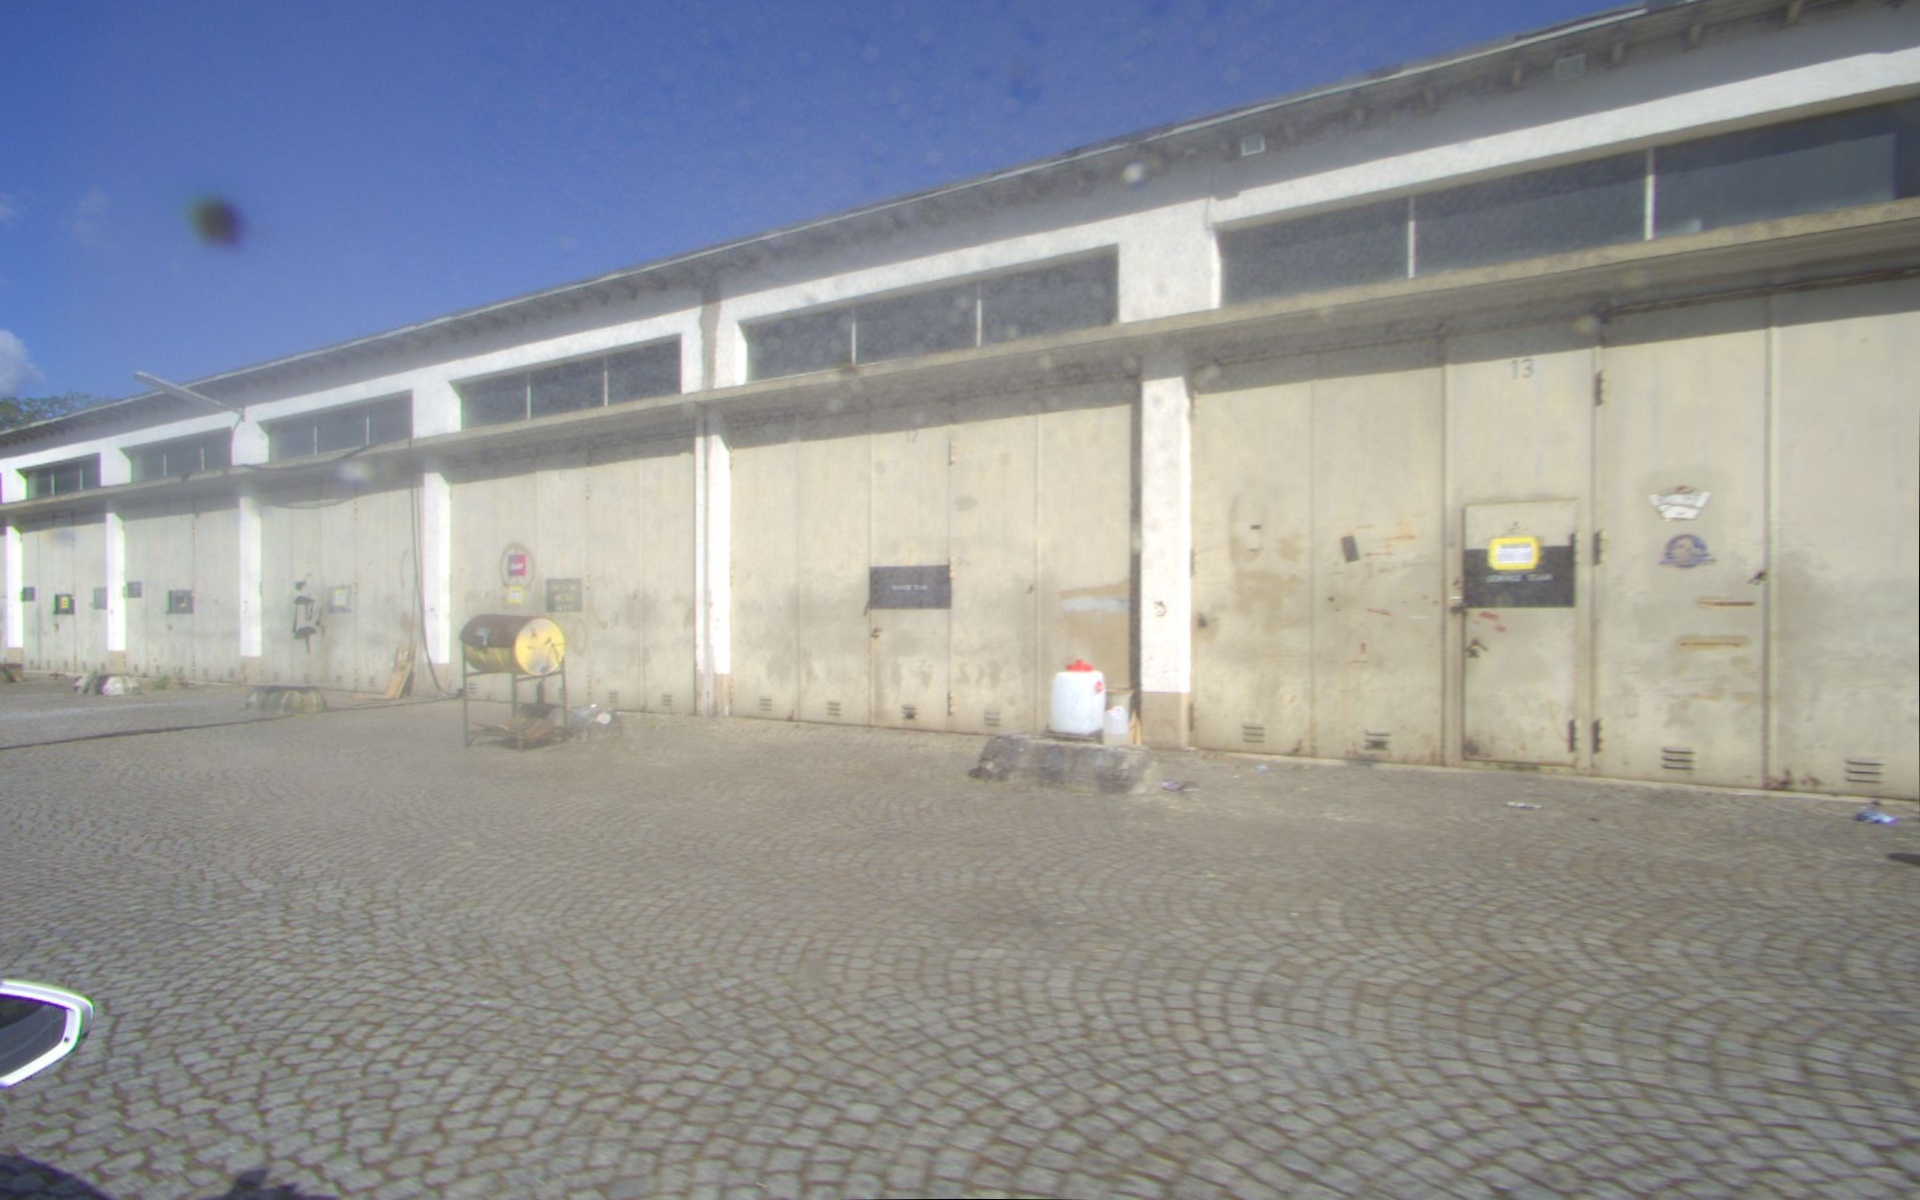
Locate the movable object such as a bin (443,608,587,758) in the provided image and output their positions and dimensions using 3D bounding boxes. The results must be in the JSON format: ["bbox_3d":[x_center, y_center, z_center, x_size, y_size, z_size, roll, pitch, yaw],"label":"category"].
[{"bbox_3d":[-4.518,0.802,10.183,1.085,1.419,0.874,0,-1,30],"label":"movable object such as a bin"}]
